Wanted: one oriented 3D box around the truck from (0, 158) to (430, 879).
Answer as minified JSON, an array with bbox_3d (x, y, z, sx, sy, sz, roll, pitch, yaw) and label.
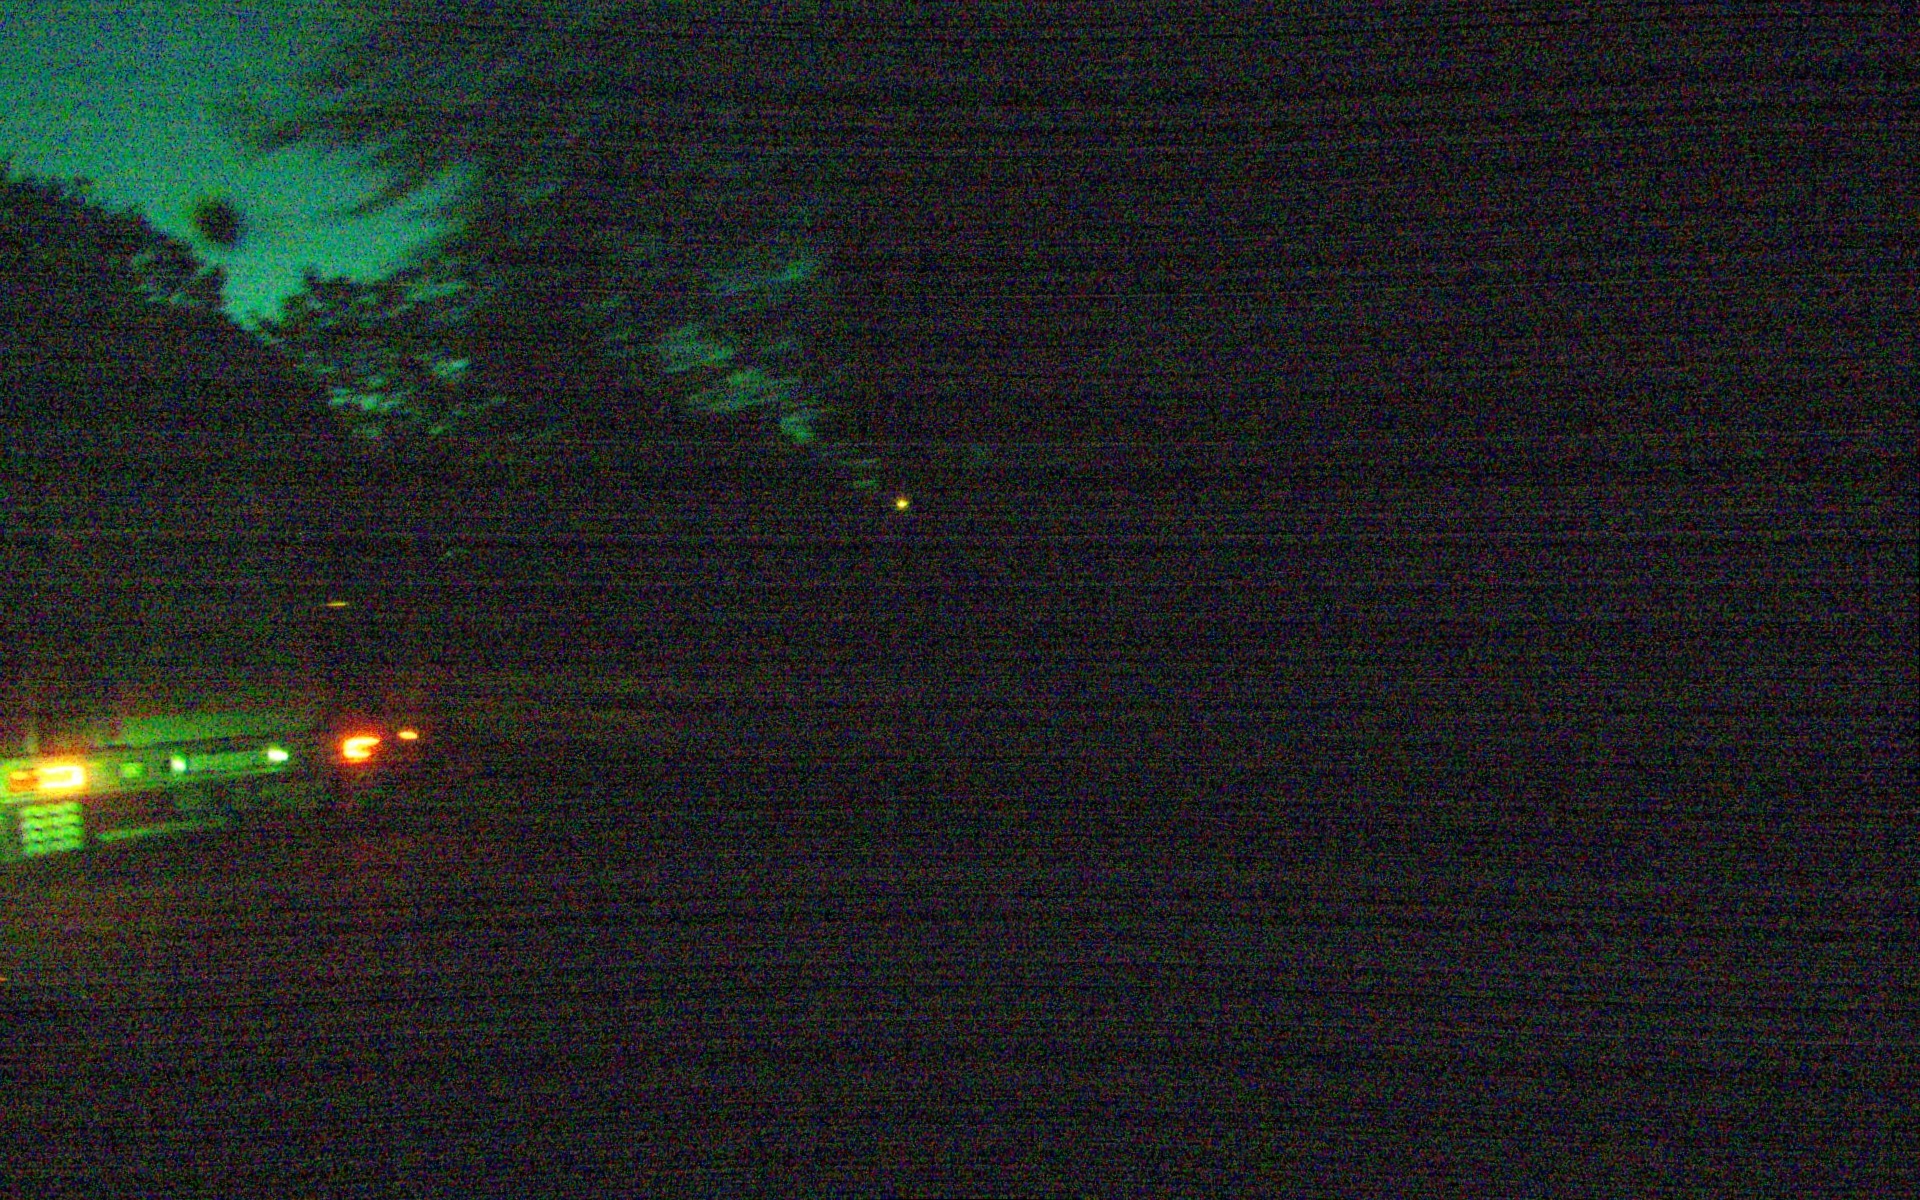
[{"bbox_3d":[-10.378,-0.296,10.272,12.954,4.158,2.683,-2,-2,32],"label":"truck"}]
